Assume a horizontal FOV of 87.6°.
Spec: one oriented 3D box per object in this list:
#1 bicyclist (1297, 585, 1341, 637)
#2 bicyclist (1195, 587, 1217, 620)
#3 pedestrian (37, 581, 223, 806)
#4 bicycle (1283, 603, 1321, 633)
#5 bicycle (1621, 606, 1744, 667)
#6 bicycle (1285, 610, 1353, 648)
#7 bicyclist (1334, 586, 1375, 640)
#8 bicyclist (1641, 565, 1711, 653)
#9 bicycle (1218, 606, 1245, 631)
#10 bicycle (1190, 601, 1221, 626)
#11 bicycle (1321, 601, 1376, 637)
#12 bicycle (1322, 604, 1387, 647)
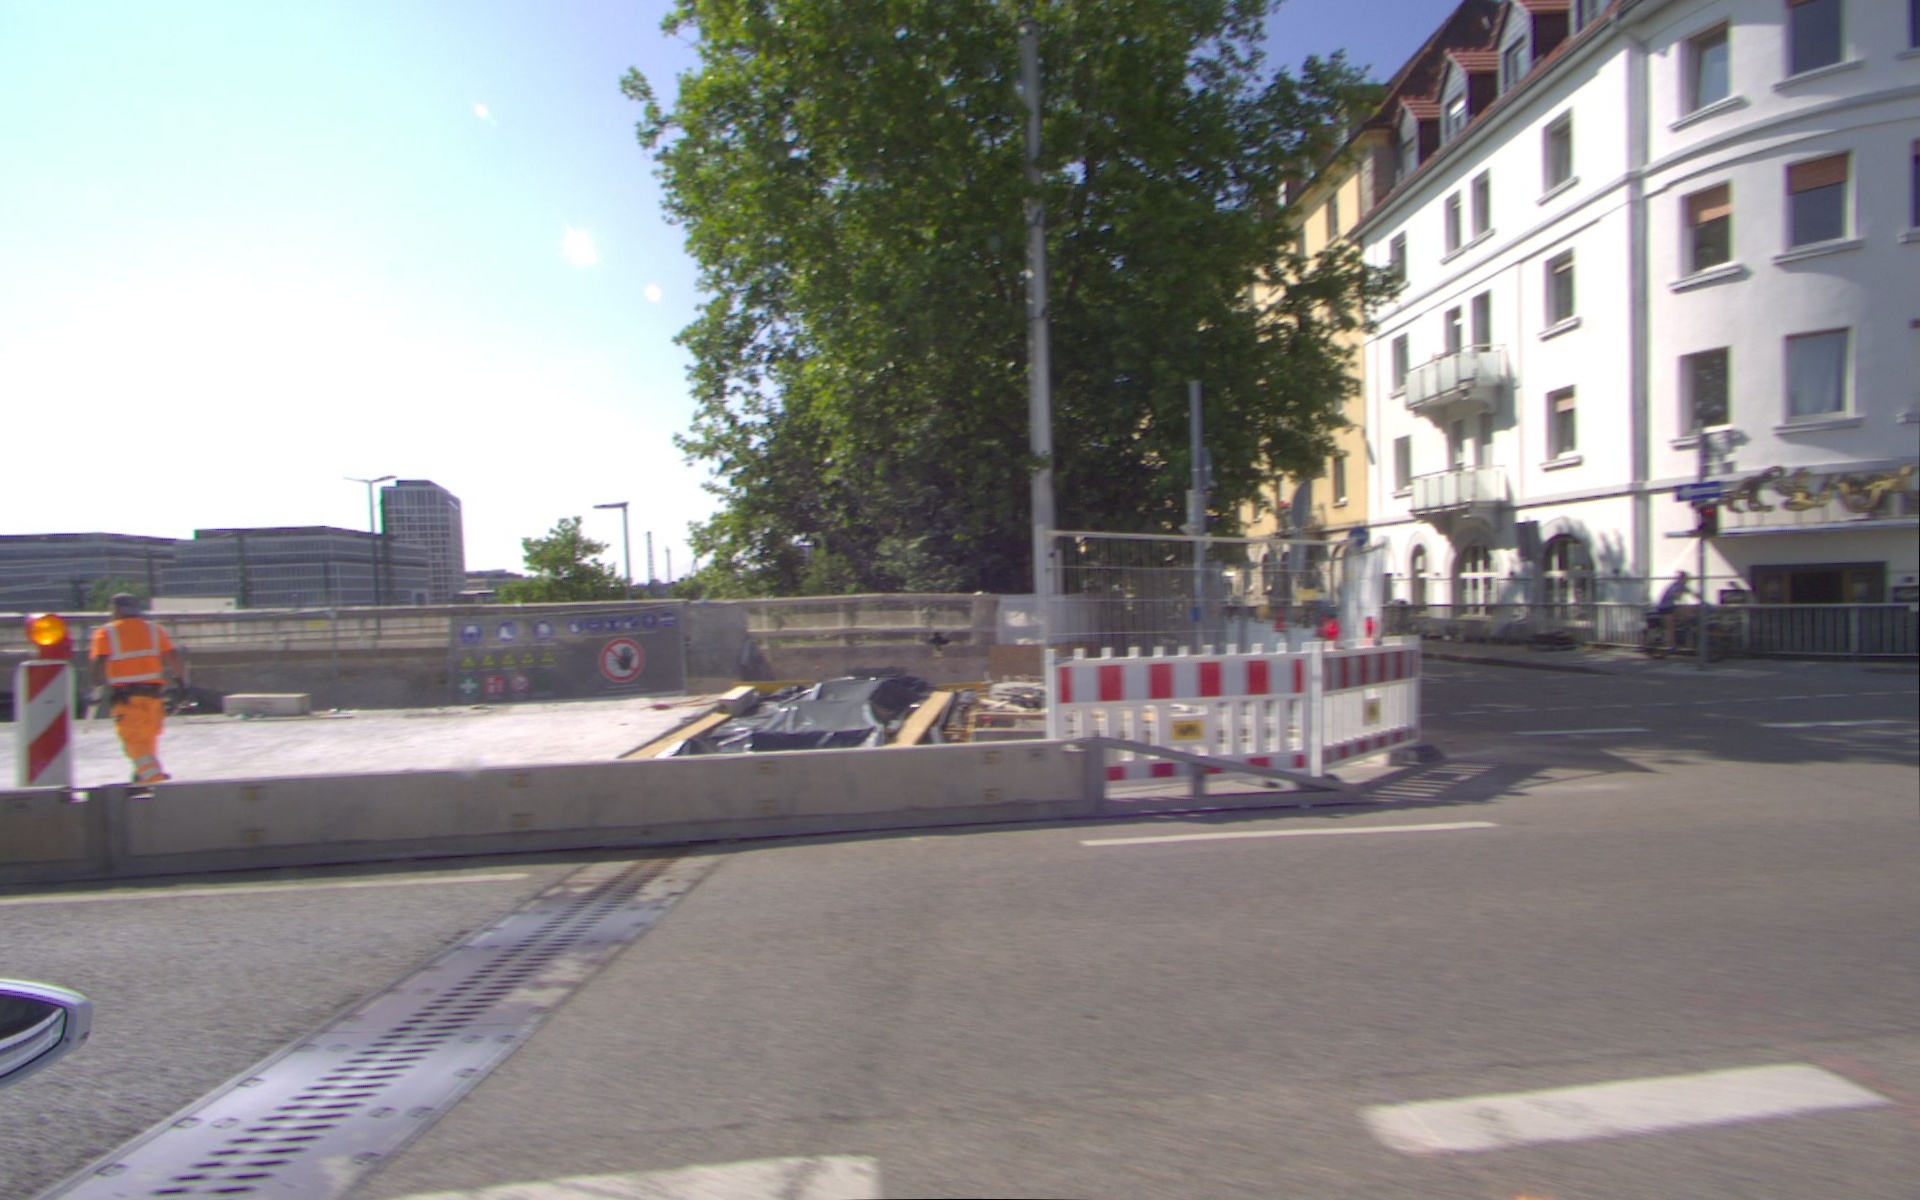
[{"bbox_3d":[10.155,0.313,28.343,0.851,1.434,0.916,-1,1,-8],"label":"bicyclist"},{"bbox_3d":[11.799,0.151,48.006,0.824,1.558,1.023,-1,1,1],"label":"bicyclist"},{"bbox_3d":[-7.131,0.766,8.660,0.847,1.820,0.821,-1,3,-8],"label":"pedestrian"},{"bbox_3d":[13.273,0.675,38.911,0.669,1.089,2.292,-1,1,0],"label":"bicycle"},{"bbox_3d":[13.418,0.654,18.662,0.697,1.004,1.815,-4,2,-16],"label":"bicycle"},{"bbox_3d":[10.134,0.802,28.372,0.851,1.003,2.244,-1,1,-8],"label":"bicycle"},{"bbox_3d":[11.453,0.362,29.072,0.824,1.528,0.952,-1,1,1],"label":"bicyclist"},{"bbox_3d":[13.365,0.148,18.712,0.697,1.571,0.783,-4,3,-17],"label":"bicyclist"},{"bbox_3d":[13.005,0.885,47.955,0.669,1.089,2.292,-1,1,0],"label":"bicycle"},{"bbox_3d":[11.811,0.631,48.261,0.824,1.152,2.858,-1,0,2],"label":"bicycle"},{"bbox_3d":[13.245,0.610,34.202,0.824,1.152,2.858,-1,0,1],"label":"bicycle"},{"bbox_3d":[11.452,0.712,29.179,0.824,1.152,2.858,-1,0,1],"label":"bicycle"}]
